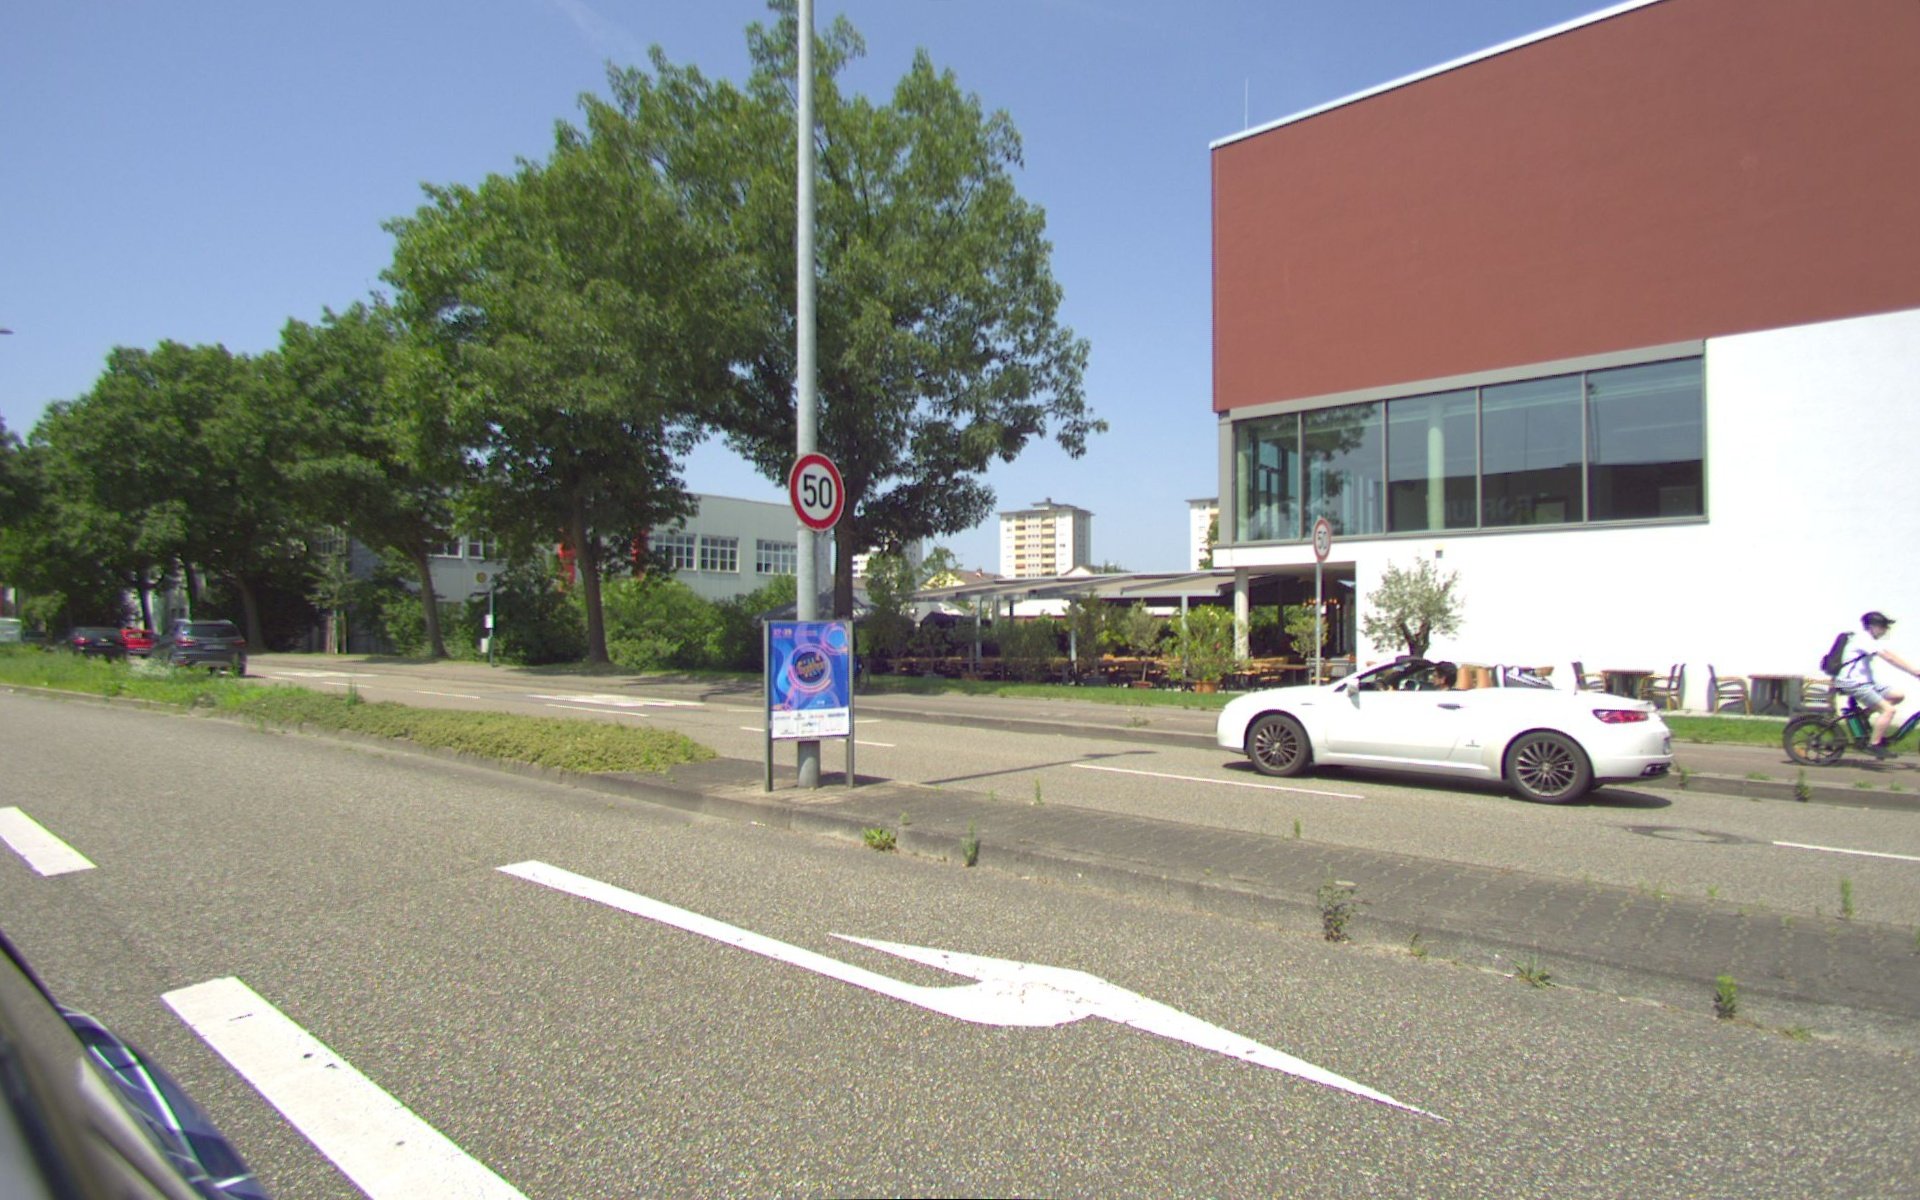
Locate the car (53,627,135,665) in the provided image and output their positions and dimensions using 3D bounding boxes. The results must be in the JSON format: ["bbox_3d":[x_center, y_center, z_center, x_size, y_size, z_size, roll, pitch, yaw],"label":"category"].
[{"bbox_3d":[-33.507,1.770,39.138,3.996,1.349,1.662,-1,-5,39],"label":"car"}]

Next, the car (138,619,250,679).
[{"bbox_3d":[-22.350,1.422,29.487,3.881,1.612,1.670,-1,-5,40],"label":"car"}]

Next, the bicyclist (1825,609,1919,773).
[{"bbox_3d":[9.677,0.928,10.579,0.923,1.643,0.601,-1,-3,41],"label":"bicyclist"}]

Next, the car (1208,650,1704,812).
[{"bbox_3d":[4.920,1.200,10.415,4.298,1.272,1.700,-1,-4,40],"label":"car"}]

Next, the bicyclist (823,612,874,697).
[{"bbox_3d":[-2.402,1.162,21.745,0.927,1.783,0.643,-2,-2,41],"label":"bicyclist"}]

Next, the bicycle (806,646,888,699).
[{"bbox_3d":[-2.448,1.530,21.762,1.883,1.059,0.648,-1,-2,41],"label":"bicycle"}]

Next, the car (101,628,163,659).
[{"bbox_3d":[-41.561,2.184,50.754,3.889,1.464,1.688,-2,-5,41],"label":"car"}]

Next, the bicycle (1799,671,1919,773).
[{"bbox_3d":[9.775,1.260,10.464,1.659,0.976,0.611,-1,-2,41],"label":"bicycle"}]

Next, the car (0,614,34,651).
[{"bbox_3d":[-53.495,1.795,56.481,4.904,1.960,1.973,-1,-4,40],"label":"car"}]
